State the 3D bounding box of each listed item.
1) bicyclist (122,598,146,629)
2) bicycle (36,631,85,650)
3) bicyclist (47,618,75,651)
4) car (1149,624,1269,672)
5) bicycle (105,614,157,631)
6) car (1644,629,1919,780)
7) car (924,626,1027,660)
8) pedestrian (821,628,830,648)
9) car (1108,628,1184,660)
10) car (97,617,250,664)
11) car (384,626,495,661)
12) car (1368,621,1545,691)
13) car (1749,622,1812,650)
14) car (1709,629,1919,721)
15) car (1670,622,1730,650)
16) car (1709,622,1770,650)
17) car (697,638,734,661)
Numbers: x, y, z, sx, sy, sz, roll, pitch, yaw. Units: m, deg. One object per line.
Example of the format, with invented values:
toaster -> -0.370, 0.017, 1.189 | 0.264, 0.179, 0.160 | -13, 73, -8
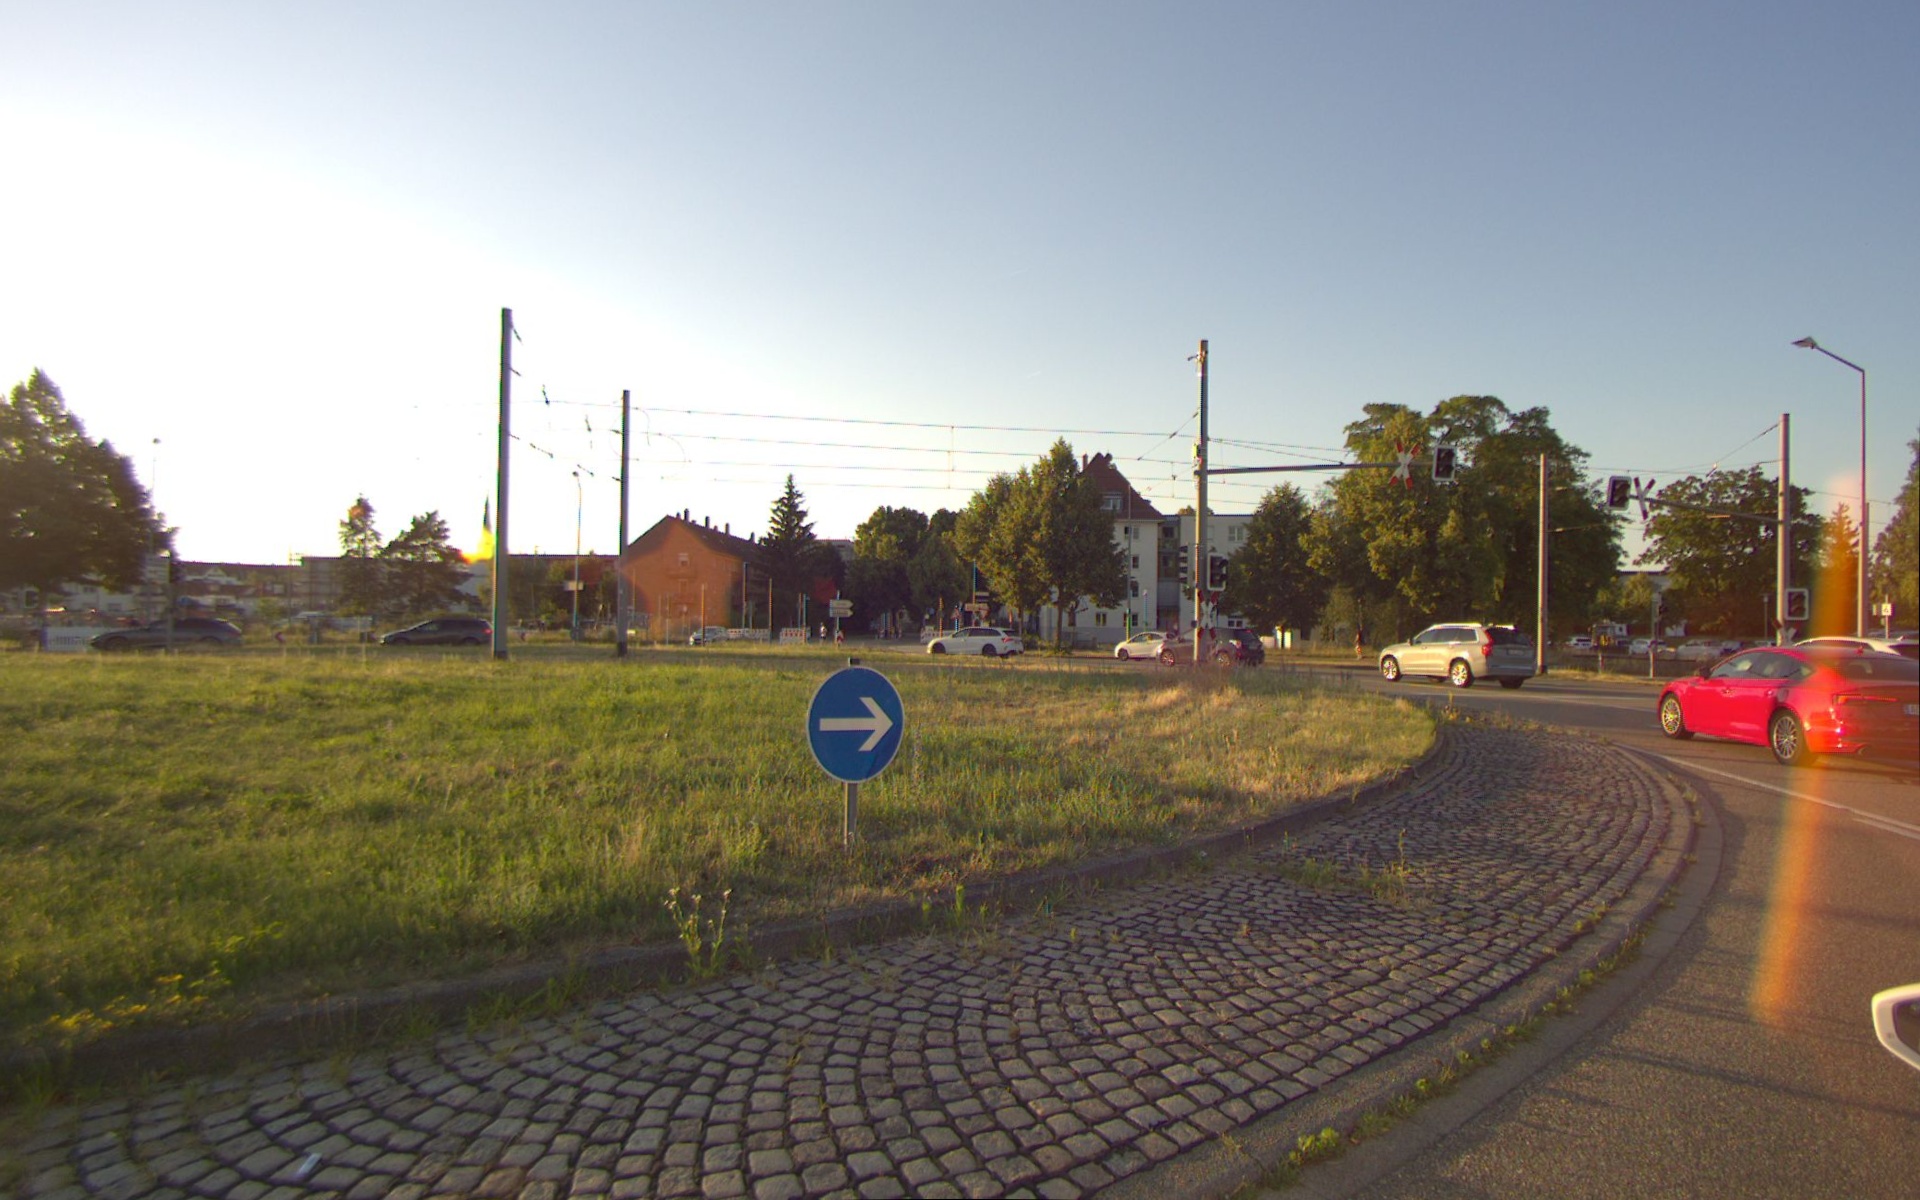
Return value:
bicyclist -> -44.014, 0.731, 53.533 | 0.786, 1.655, 0.693 | 0, -1, -18
bicycle -> -46.687, 2.093, 52.160 | 0.539, 0.993, 1.842 | 0, -1, 26
bicyclist -> -46.668, 1.792, 52.138 | 0.800, 1.662, 0.814 | 0, -1, 26
car -> 9.527, 1.806, 38.778 | 1.785, 1.654, 4.412 | 2, -1, -35
bicycle -> -44.221, 1.207, 53.596 | 2.102, 0.857, 0.510 | 0, -1, -19
car -> 10.629, 1.156, 12.640 | 1.808, 1.480, 4.584 | 0, 0, 13
car -> 0.703, 1.936, 45.956 | 4.467, 1.468, 1.725 | -1, -1, 29
pedestrian -> -9.381, 2.641, 69.854 | 0.540, 1.392, 0.356 | 1, -1, -20
car -> 9.366, 2.181, 50.664 | 3.434, 1.462, 1.547 | 1, -1, 40
car -> -30.704, 1.562, 39.402 | 4.548, 1.771, 1.736 | 1, -1, -33
car -> -22.376, 1.849, 43.353 | 4.075, 1.486, 1.742 | 1, -1, -22
car -> 14.293, 1.546, 29.285 | 1.890, 1.777, 4.908 | 2, -1, -14
car -> 66.019, 2.854, 80.904 | 1.960, 2.126, 4.001 | 1, -1, 2
car -> 19.780, 1.575, 22.585 | 1.877, 1.733, 4.937 | 1, 0, -5
car -> 59.825, 2.881, 81.279 | 1.960, 2.126, 4.001 | 1, -1, 2
car -> 62.893, 2.868, 81.095 | 1.960, 2.126, 4.001 | 1, -1, 2
car -> -17.458, 3.510, 71.852 | 1.596, 1.506, 4.001 | 1, -1, 2
